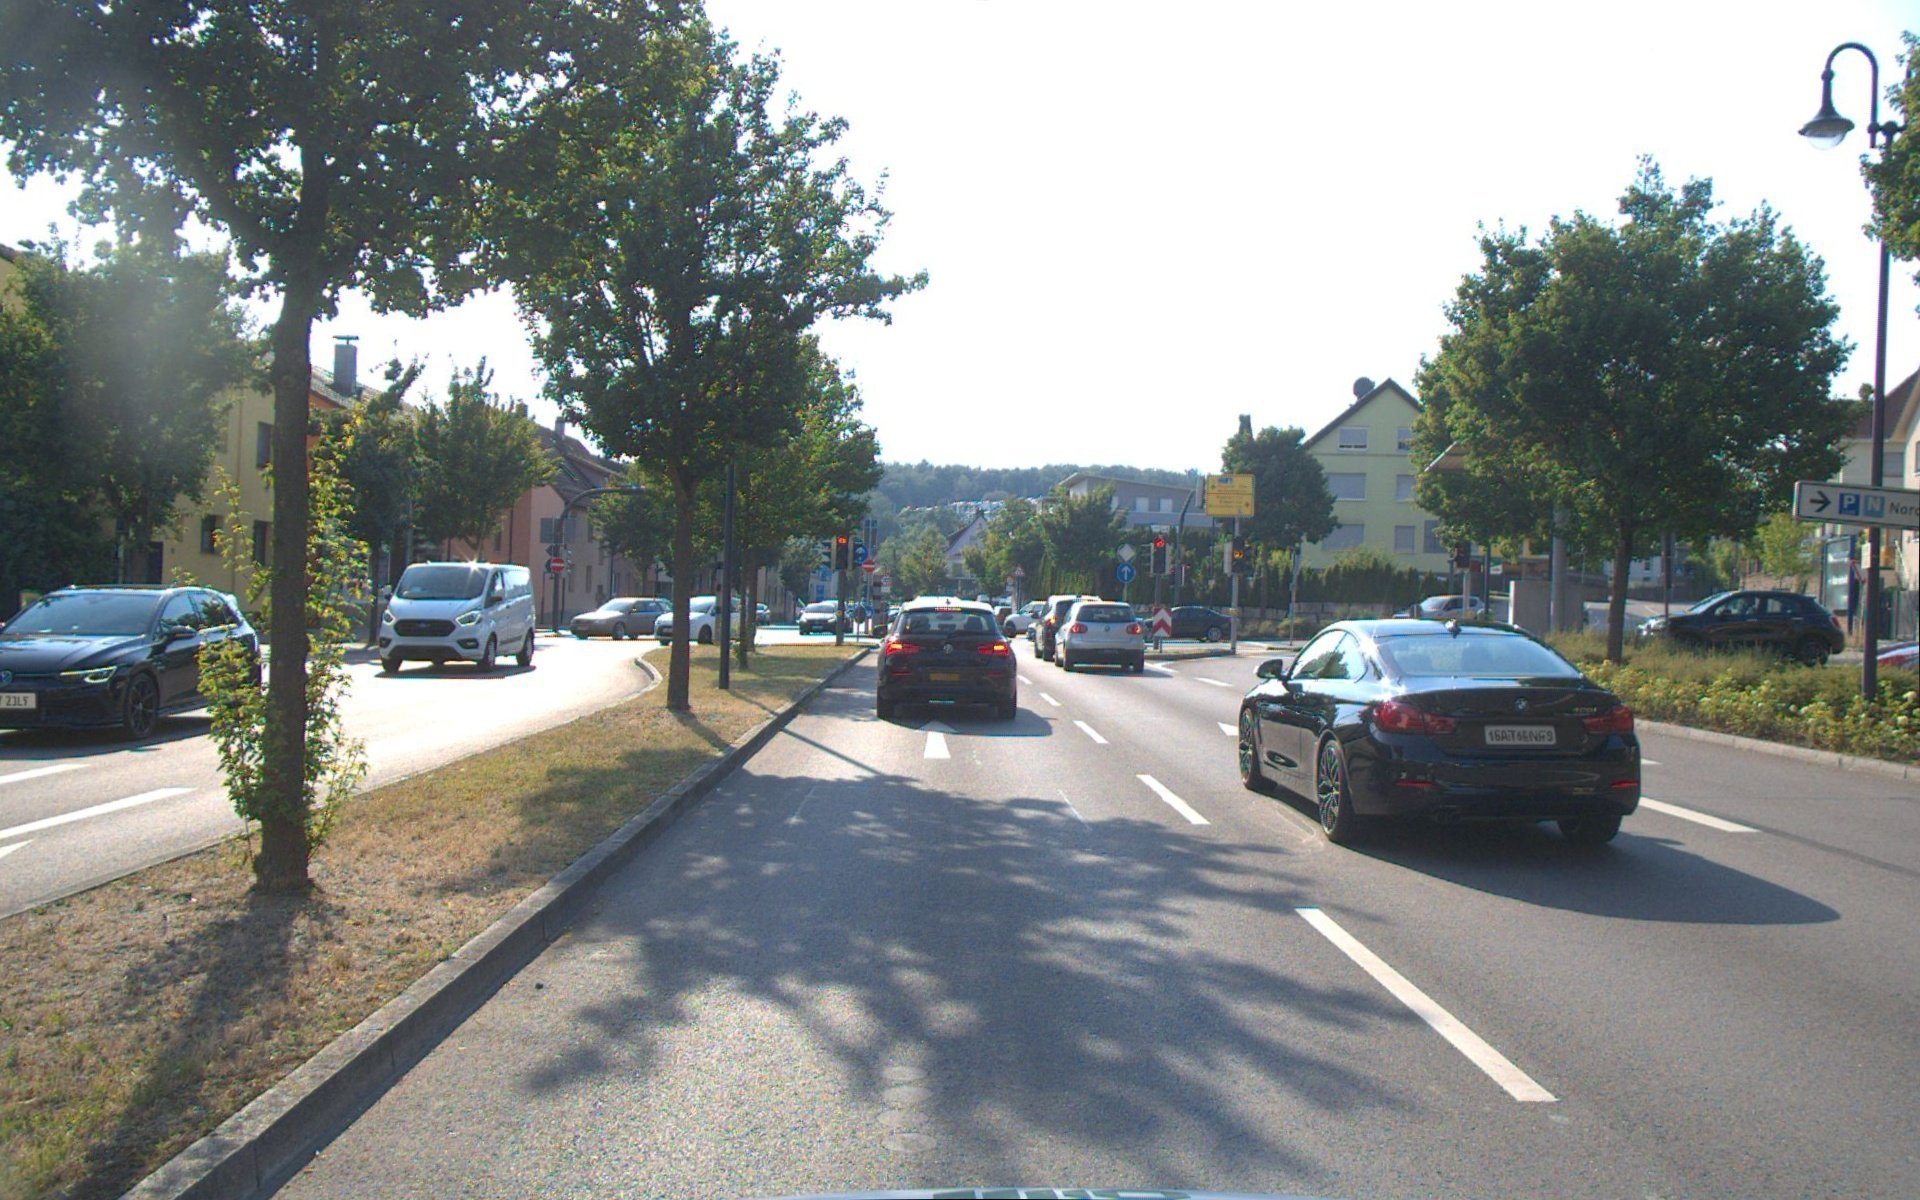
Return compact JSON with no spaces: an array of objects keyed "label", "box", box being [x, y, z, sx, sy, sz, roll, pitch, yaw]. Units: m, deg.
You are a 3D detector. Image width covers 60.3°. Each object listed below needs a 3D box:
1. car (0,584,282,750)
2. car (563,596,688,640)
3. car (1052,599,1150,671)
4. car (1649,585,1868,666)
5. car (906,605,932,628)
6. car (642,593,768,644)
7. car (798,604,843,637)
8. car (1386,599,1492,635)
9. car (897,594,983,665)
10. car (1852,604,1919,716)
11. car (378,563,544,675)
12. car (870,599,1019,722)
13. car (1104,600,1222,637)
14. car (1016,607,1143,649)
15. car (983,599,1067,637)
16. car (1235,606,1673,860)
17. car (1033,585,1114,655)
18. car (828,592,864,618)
[{"label":"car","box":[-8.549,0.592,16.809,1.733,1.476,4.106,1,0,-2]},{"label":"car","box":[-11.703,0.625,58.190,1.655,1.488,4.703,1,0,29]},{"label":"car","box":[3.056,0.723,36.536,1.779,1.471,4.346,1,0,0]},{"label":"car","box":[17.190,0.530,35.794,3.902,1.636,1.855,1,0,11]},{"label":"car","box":[-3.098,1.224,123.748,1.885,1.624,3.999,1,0,-2]},{"label":"car","box":[-7.964,0.580,51.996,1.769,1.523,3.945,1,0,32]},{"label":"car","box":[-6.493,0.943,77.232,1.730,1.484,4.000,1,0,0]},{"label":"car","box":[20.828,0.737,71.810,4.598,1.511,1.848,1,0,-32]},{"label":"car","box":[-0.421,0.620,36.748,1.779,1.476,4.241,1,0,0]},{"label":"car","box":[13.024,0.720,19.620,3.902,1.294,1.855,1,0,11]},{"label":"car","box":[-9.373,0.336,31.499,1.786,1.957,4.943,1,0,-2]},{"label":"car","box":[-0.189,0.720,21.855,1.754,1.439,4.346,1,0,0]},{"label":"car","box":[8.336,0.756,68.235,4.540,1.446,1.846,1,0,-7]},{"label":"car","box":[4.401,1.032,61.395,4.384,1.372,1.782,1,3,-11]},{"label":"car","box":[3.047,0.845,78.453,1.871,1.732,4.477,0,0,-30]},{"label":"car","box":[3.193,0.771,11.645,1.779,1.413,4.346,1,0,0]},{"label":"car","box":[2.872,0.495,42.697,1.779,1.695,4.346,1,0,0]},{"label":"car","box":[-6.331,0.269,92.225,1.658,1.377,4.000,1,0,0]}]
